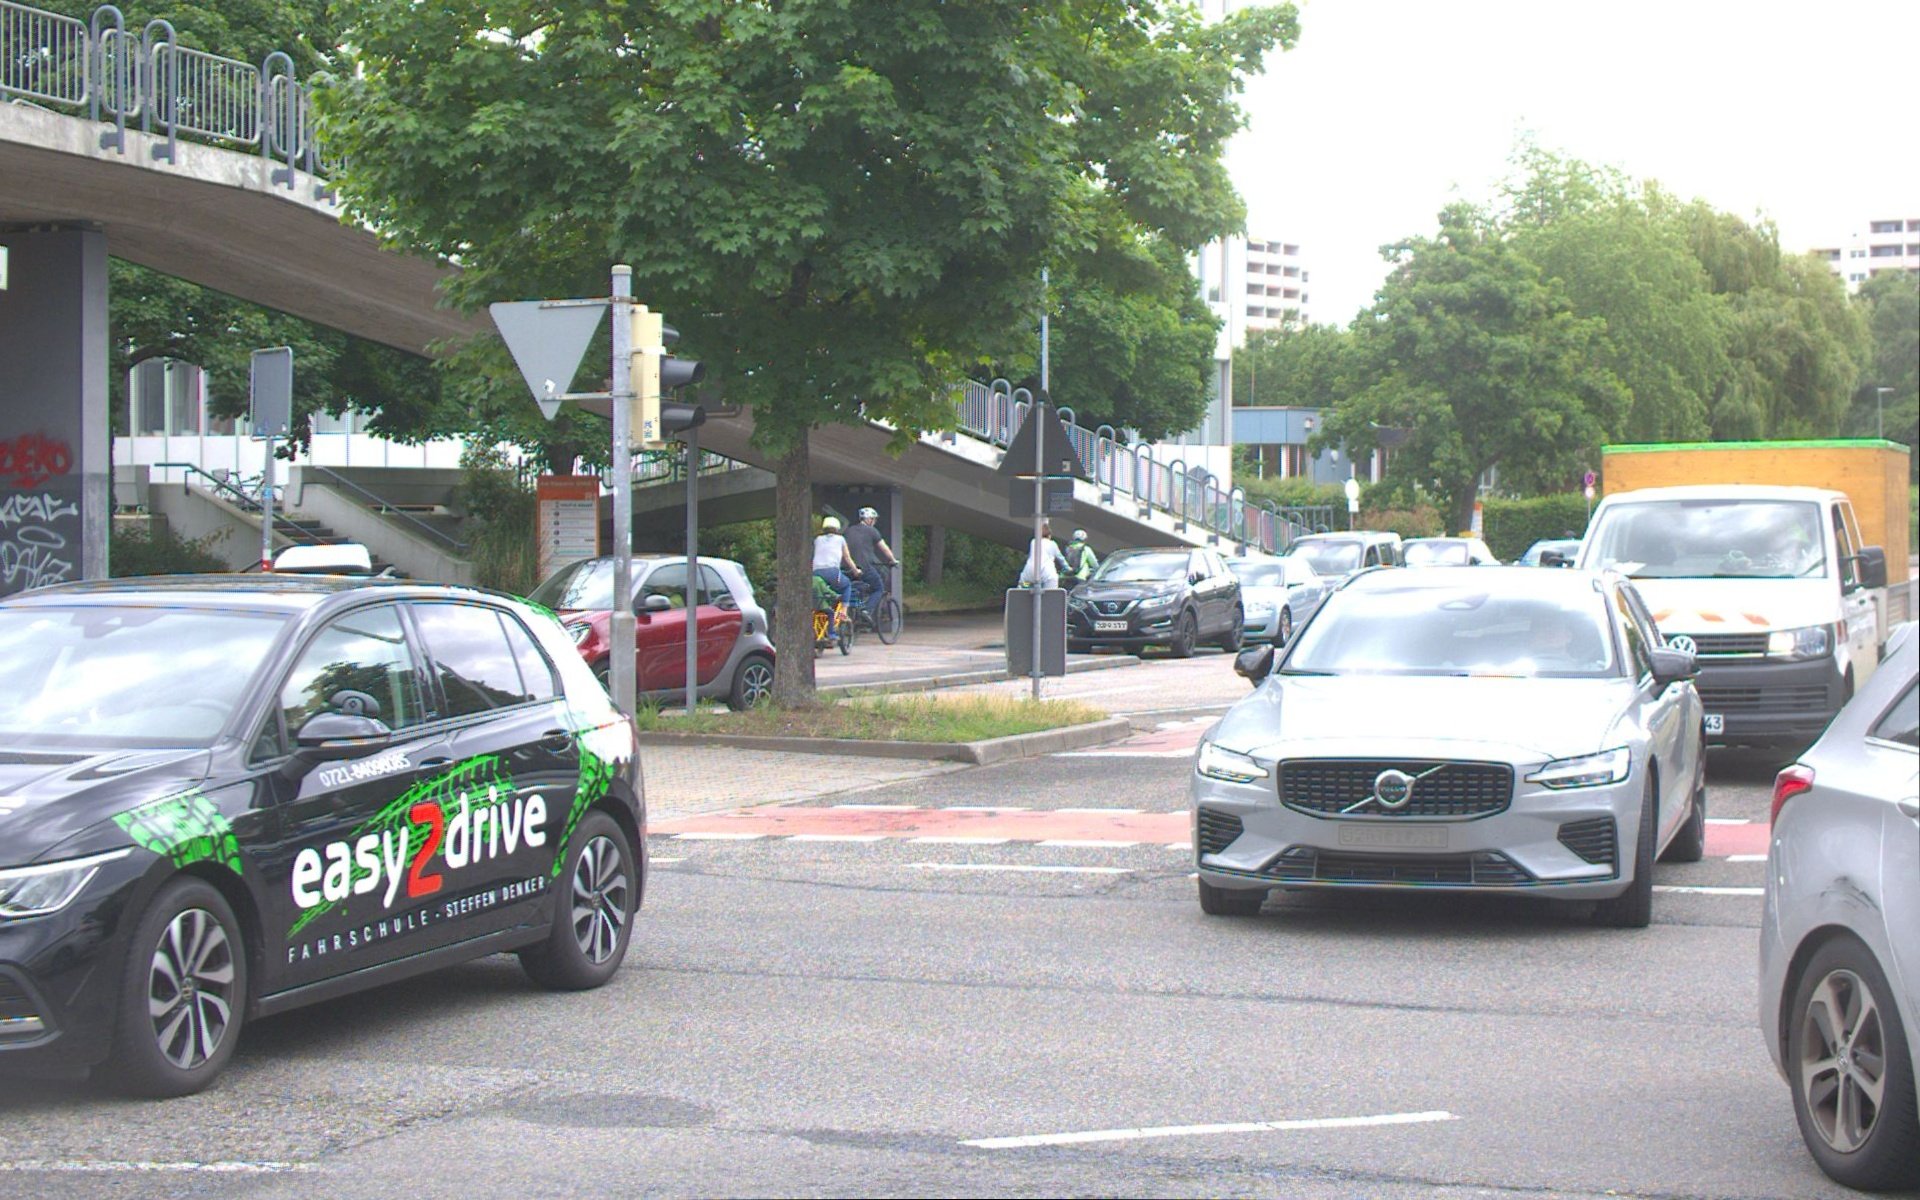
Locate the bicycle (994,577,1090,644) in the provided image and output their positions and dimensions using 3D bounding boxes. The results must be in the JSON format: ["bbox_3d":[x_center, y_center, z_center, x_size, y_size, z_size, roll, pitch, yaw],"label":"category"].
[{"bbox_3d":[1.244,0.151,51.660,0.763,0.946,1.951,1,1,24],"label":"bicycle"}]

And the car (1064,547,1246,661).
[{"bbox_3d":[2.897,0.031,50.341,1.673,1.546,3.888,1,2,19],"label":"car"}]

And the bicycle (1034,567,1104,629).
[{"bbox_3d":[1.739,-0.040,54.793,0.527,0.946,1.707,1,1,23],"label":"bicycle"}]

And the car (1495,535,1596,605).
[{"bbox_3d":[13.576,-0.716,79.575,1.673,1.546,3.996,1,1,19],"label":"car"}]

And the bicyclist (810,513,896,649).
[{"bbox_3d":[-1.509,-0.286,48.672,0.857,1.886,1.126,1,2,20],"label":"bicyclist"}]

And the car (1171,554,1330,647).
[{"bbox_3d":[4.721,-0.016,55.521,1.673,1.382,3.892,1,2,19],"label":"car"}]

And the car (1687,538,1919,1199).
[{"bbox_3d":[3.211,0.650,6.994,1.788,1.514,4.327,0,1,-12],"label":"car"}]

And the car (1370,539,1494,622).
[{"bbox_3d":[9.264,-0.405,67.237,1.673,1.546,3.996,1,1,19],"label":"car"}]

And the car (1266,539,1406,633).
[{"bbox_3d":[6.646,-0.277,60.487,1.673,1.546,3.759,1,2,19],"label":"car"}]

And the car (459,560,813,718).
[{"bbox_3d":[-2.951,0.320,31.632,1.562,1.341,2.965,1,2,42],"label":"car"}]

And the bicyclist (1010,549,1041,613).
[{"bbox_3d":[1.242,-0.361,65.288,0.431,1.213,0.567,1,0,17],"label":"bicyclist"}]

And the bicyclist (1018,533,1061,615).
[{"bbox_3d":[1.194,-0.391,51.381,0.405,1.177,0.377,9,5,20],"label":"bicyclist"}]

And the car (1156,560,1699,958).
[{"bbox_3d":[2.248,0.564,15.322,1.898,1.415,4.733,1,1,14],"label":"car"}]

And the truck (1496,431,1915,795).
[{"bbox_3d":[5.313,-0.006,23.829,2.157,2.191,5.835,1,2,19],"label":"truck"}]

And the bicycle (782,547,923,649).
[{"bbox_3d":[-1.496,-0.053,48.674,0.857,1.310,3.227,1,2,20],"label":"bicycle"}]

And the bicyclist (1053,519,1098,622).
[{"bbox_3d":[1.855,-0.475,55.137,0.565,1.639,0.531,1,1,22],"label":"bicyclist"}]

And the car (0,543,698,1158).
[{"bbox_3d":[-2.485,0.576,10.793,1.771,1.472,4.386,1,1,18],"label":"car"}]
